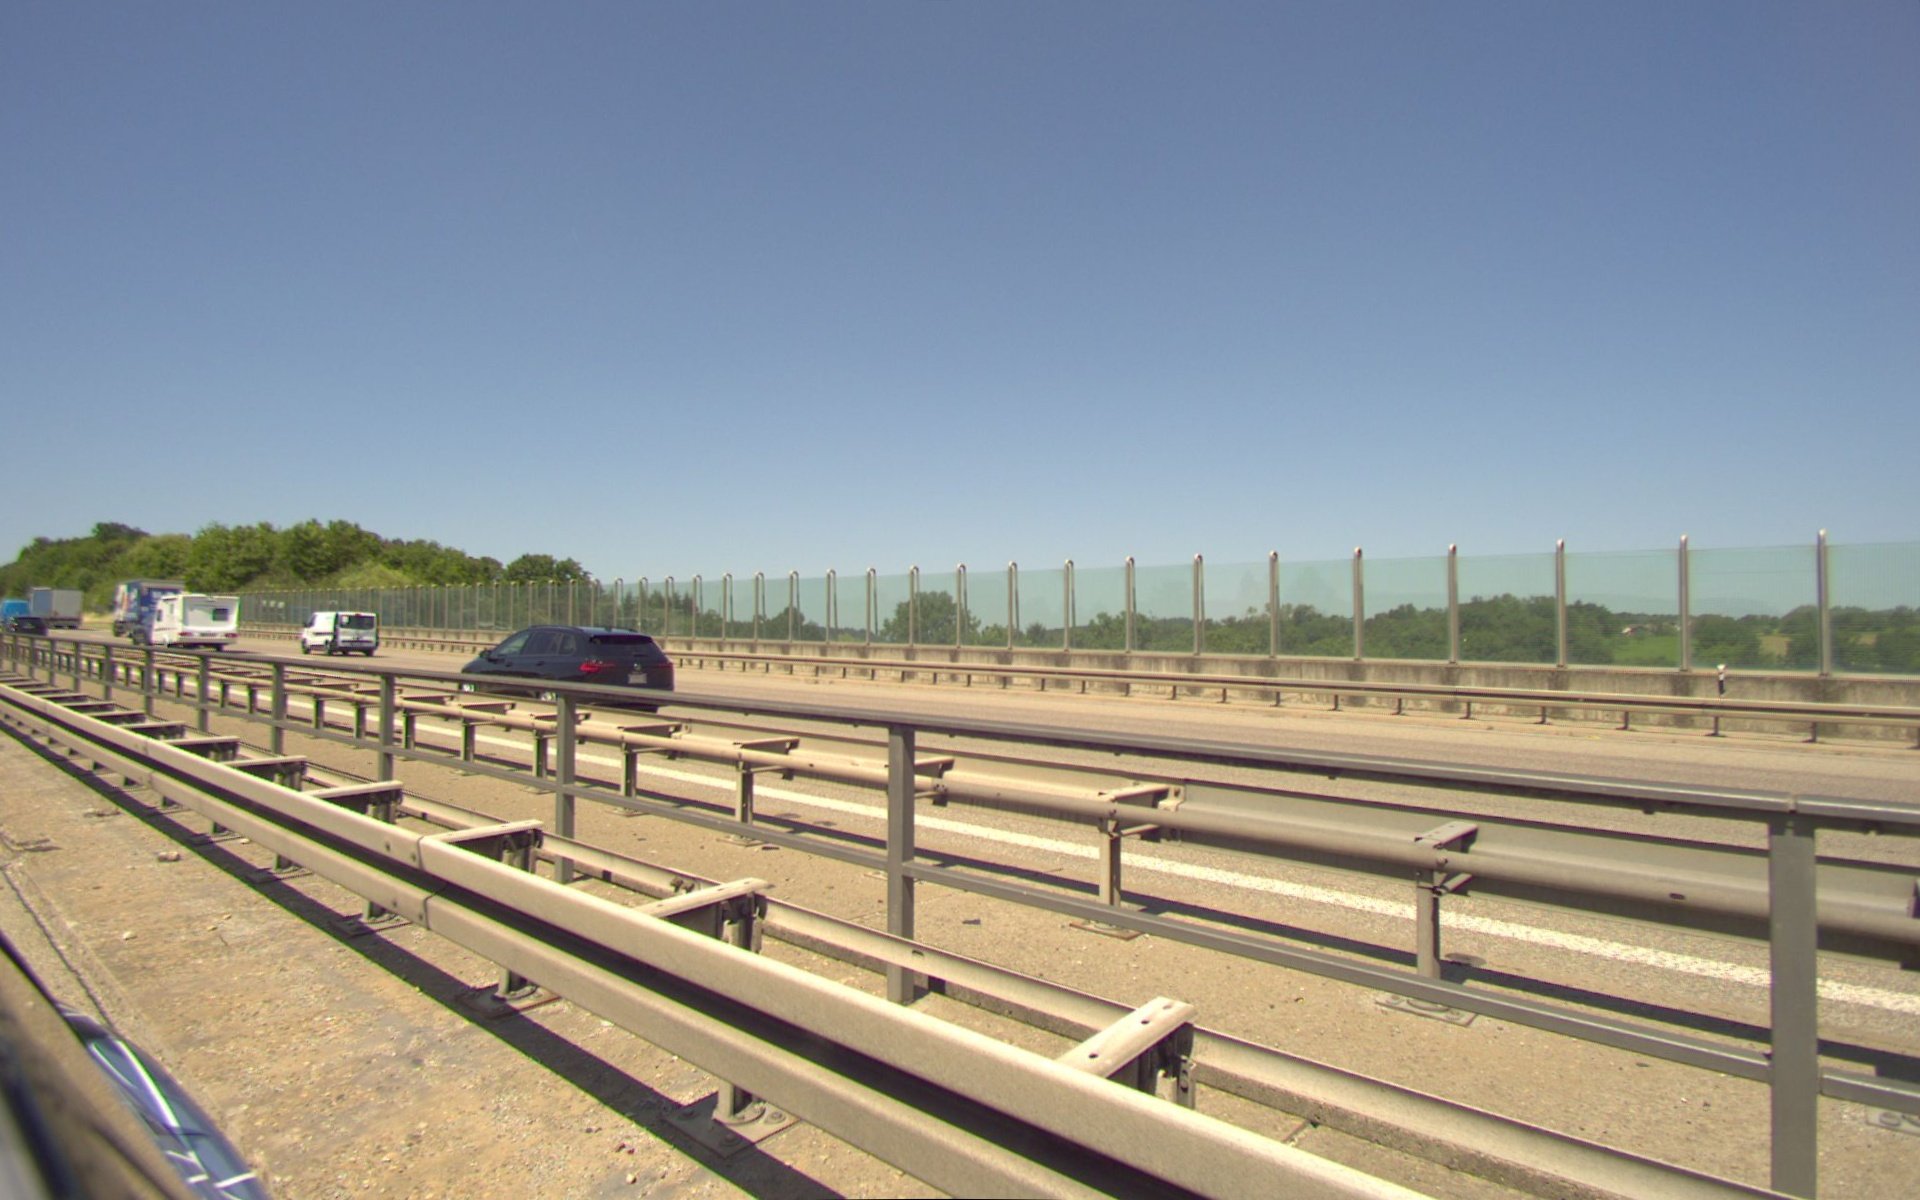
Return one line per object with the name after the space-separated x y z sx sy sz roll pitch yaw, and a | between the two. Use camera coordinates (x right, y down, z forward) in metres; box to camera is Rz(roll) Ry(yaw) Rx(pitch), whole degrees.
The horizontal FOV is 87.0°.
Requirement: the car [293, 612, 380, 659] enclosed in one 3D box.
-28.125 1.597 45.609 4.487 1.999 2.013 -1 -4 41 | car

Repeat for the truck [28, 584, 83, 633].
-90.738 0.878 101.447 9.986 4.575 2.839 -1 -4 42 | truck

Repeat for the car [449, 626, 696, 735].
-6.071 1.145 15.631 4.264 1.430 1.749 -1 -3 41 | car

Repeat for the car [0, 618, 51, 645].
-52.476 1.763 56.649 3.998 1.405 1.829 -1 -4 41 | car

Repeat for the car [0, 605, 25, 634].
-88.061 1.787 93.416 5.034 2.610 1.961 -1 -3 41 | car

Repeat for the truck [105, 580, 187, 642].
-58.270 0.829 72.351 9.986 4.117 2.839 -1 -4 42 | truck

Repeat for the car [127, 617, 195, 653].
-39.205 1.688 49.626 4.266 1.654 1.783 -1 -4 41 | car

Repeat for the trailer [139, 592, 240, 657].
-35.180 1.122 46.142 6.357 2.727 2.292 -1 -4 41 | trailer
